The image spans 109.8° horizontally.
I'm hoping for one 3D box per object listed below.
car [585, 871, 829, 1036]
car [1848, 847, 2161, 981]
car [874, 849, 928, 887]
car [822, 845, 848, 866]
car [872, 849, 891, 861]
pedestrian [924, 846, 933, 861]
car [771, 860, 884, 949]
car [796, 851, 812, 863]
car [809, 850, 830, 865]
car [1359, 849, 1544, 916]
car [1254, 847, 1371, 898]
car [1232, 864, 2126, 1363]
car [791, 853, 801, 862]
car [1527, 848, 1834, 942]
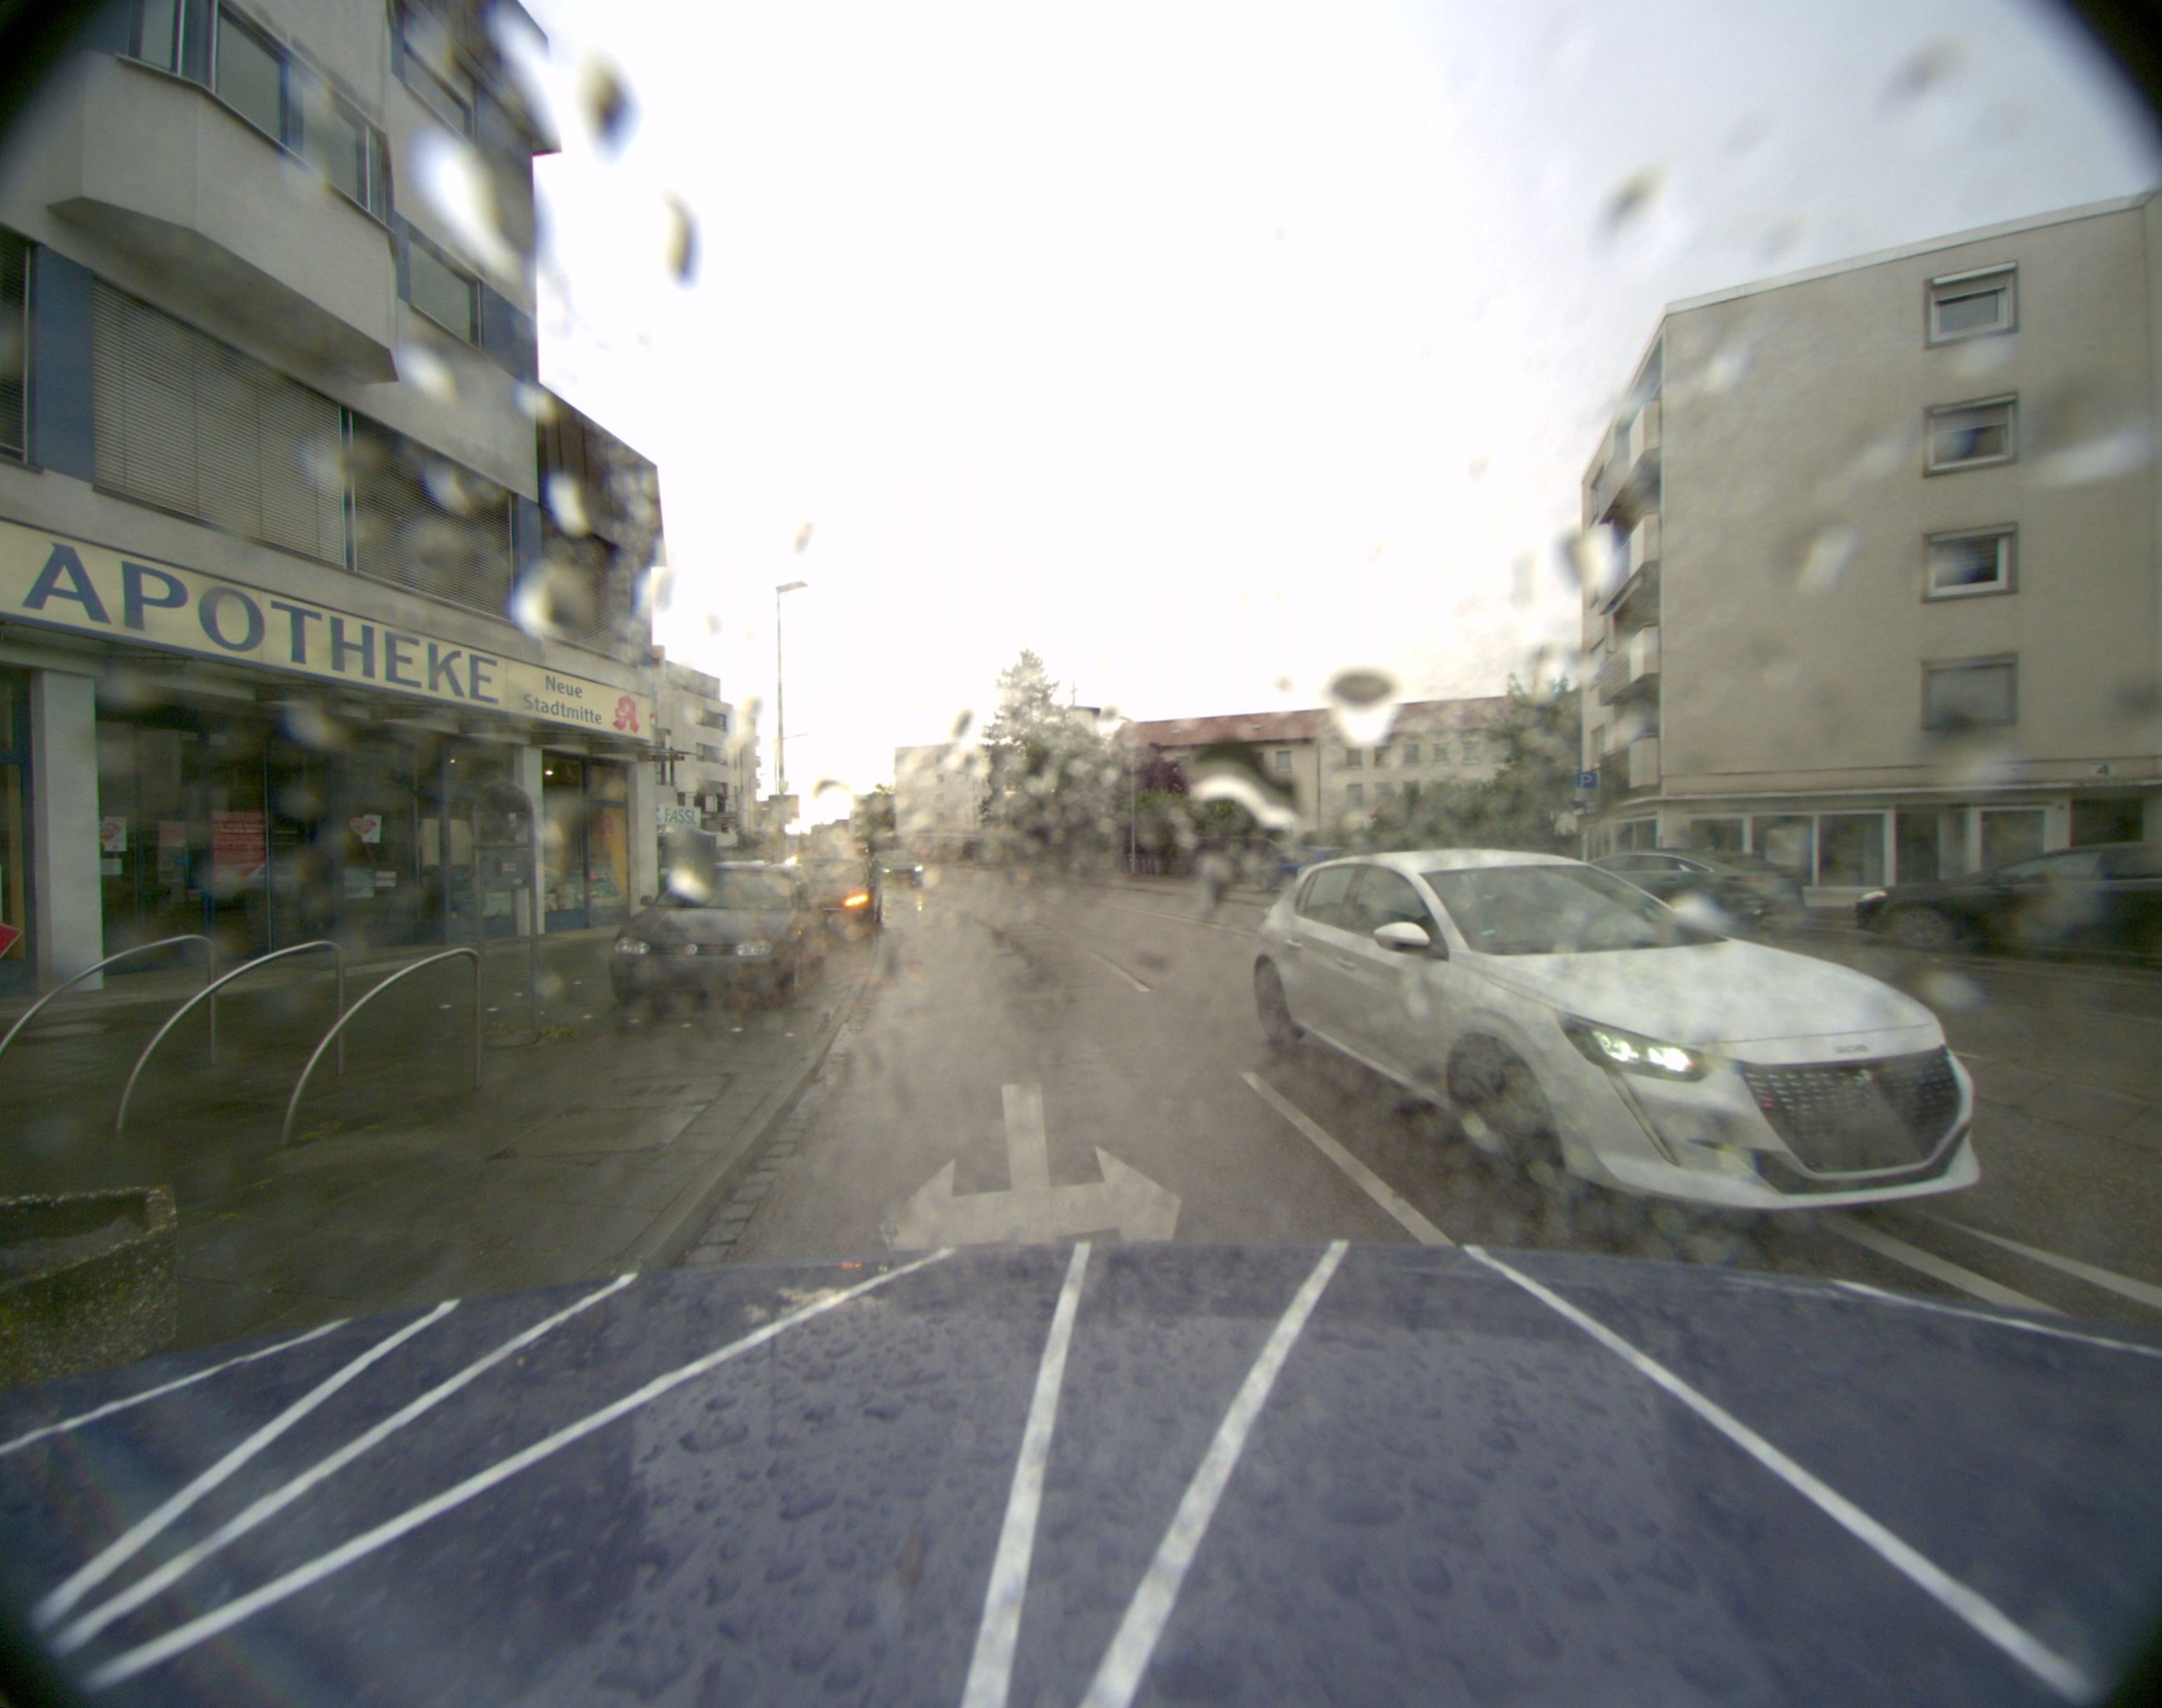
[{"bbox_3d":[-4.002,0.949,8.772,1.656,1.364,3.727,1,0,-12],"label":"car"},{"bbox_3d":[12.924,0.675,9.589,1.839,1.451,4.180,-2,2,-21],"label":"car"},{"bbox_3d":[-7.950,0.557,33.377,1.737,1.436,4.039,-2,2,-21],"label":"car"},{"bbox_3d":[-19.185,0.112,59.194,1.736,1.519,4.056,-1,0,-21],"label":"car"},{"bbox_3d":[-25.023,0.069,95.299,1.874,1.428,3.733,-1,1,-20],"label":"car"},{"bbox_3d":[-18.067,-0.065,89.909,0.857,1.726,0.834,-1,2,-29],"label":"pedestrian"},{"bbox_3d":[-4.798,0.858,14.843,1.660,1.416,3.995,-1,1,-12],"label":"car"},{"bbox_3d":[-38.917,0.399,106.772,2.002,1.606,3.993,-3,1,-20],"label":"car"},{"bbox_3d":[-27.660,0.348,80.297,1.804,1.361,3.964,-1,2,-24],"label":"car"},{"bbox_3d":[9.312,0.629,19.526,1.639,1.491,4.338,-1,1,-21],"label":"car"},{"bbox_3d":[7.437,0.535,24.770,1.636,1.497,3.873,-1,1,-20],"label":"car"},{"bbox_3d":[2.429,0.833,4.403,1.744,1.401,3.892,-3,1,-9],"label":"car"},{"bbox_3d":[-60.614,0.744,161.555,1.747,1.630,3.992,-1,1,-22],"label":"car"},{"bbox_3d":[11.149,0.647,14.556,1.839,1.426,4.266,-2,2,-21],"label":"car"}]
